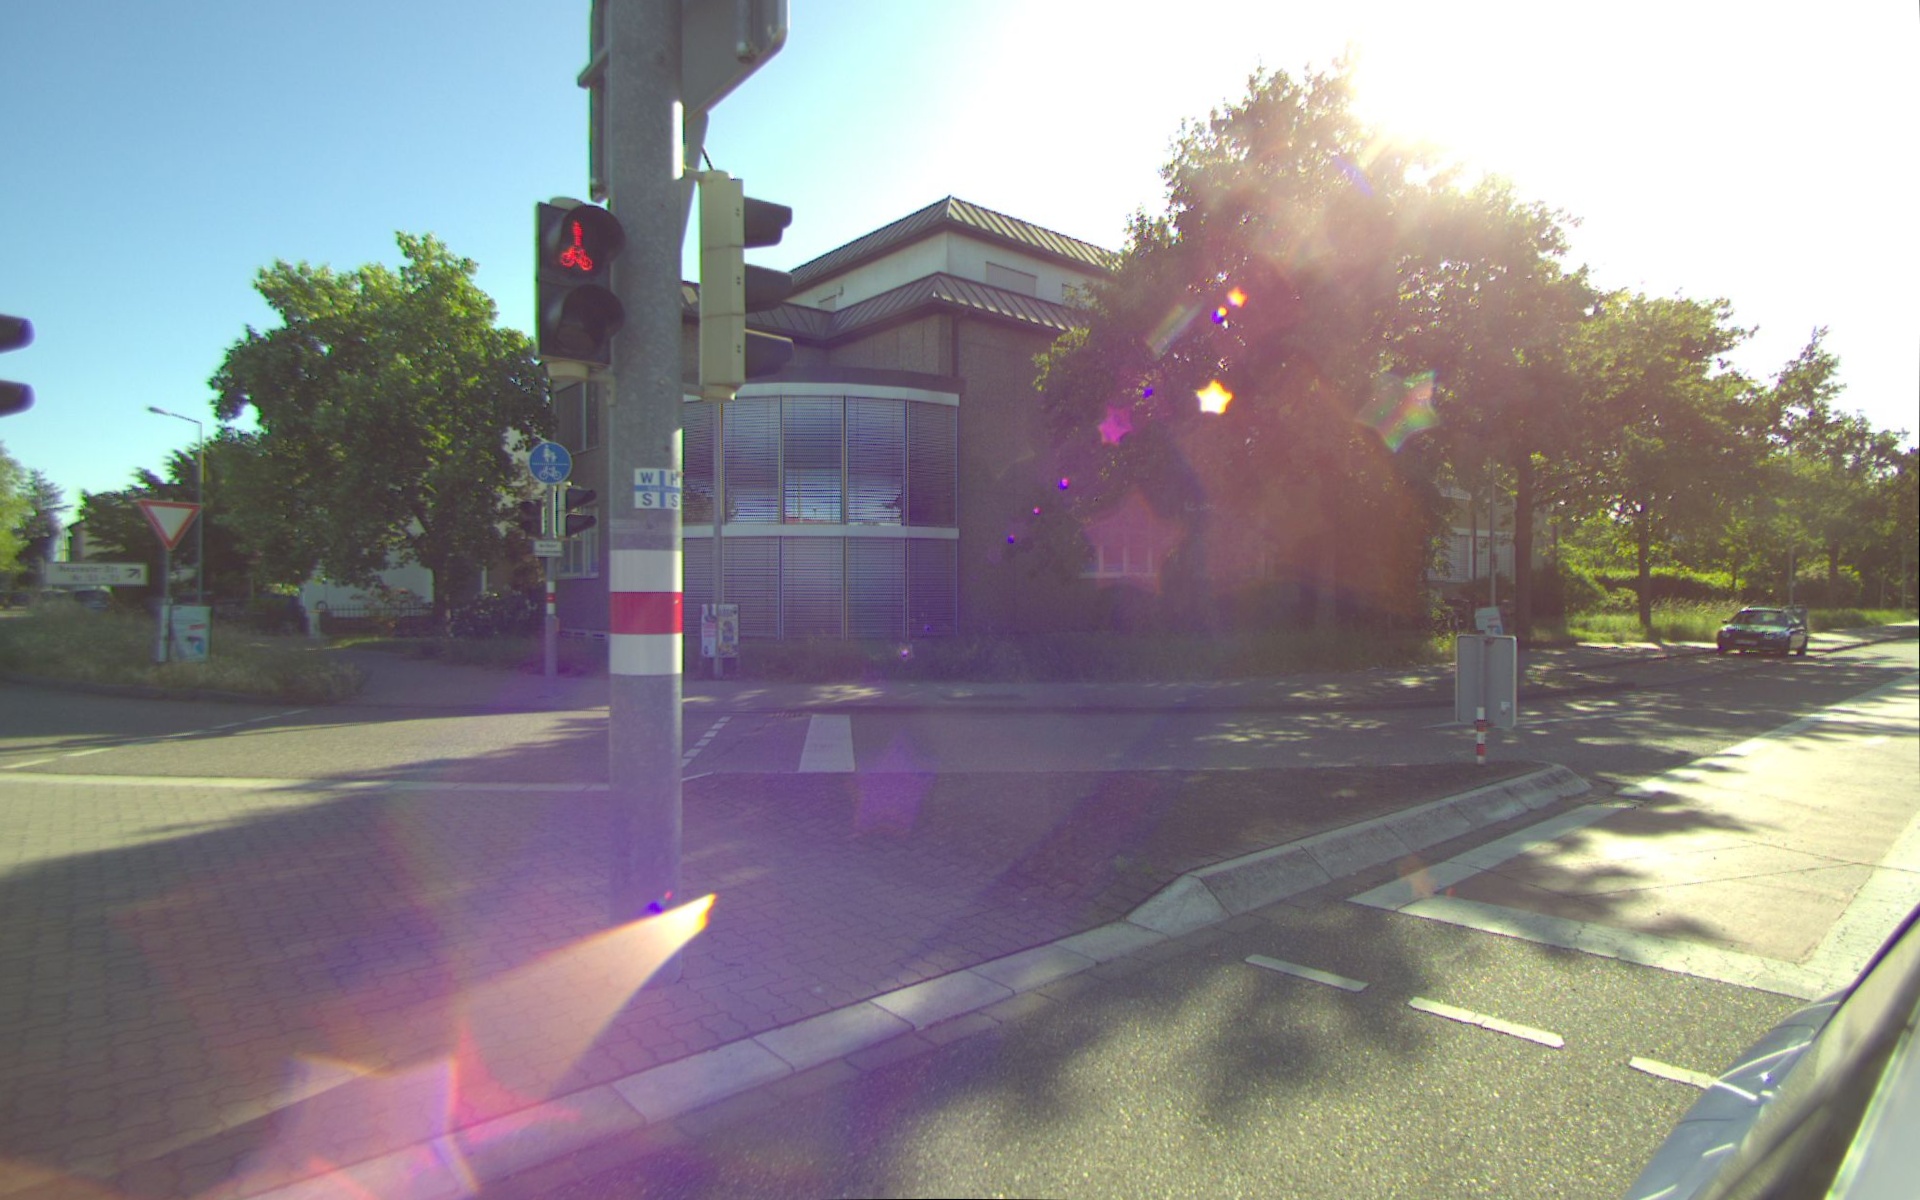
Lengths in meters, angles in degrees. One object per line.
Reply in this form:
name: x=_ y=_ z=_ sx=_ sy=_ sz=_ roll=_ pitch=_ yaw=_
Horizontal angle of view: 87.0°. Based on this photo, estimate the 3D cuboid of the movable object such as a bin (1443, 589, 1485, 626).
movable object such as a bin: x=18.782 y=0.274 z=37.701 sx=0.782 sy=1.358 sz=1.207 roll=0 pitch=0 yaw=-40

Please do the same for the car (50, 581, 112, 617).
car: x=-42.192 y=-0.084 z=48.555 sx=3.988 sy=1.638 sz=1.968 roll=1 pitch=1 yaw=45

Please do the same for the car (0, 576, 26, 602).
car: x=-77.989 y=-0.903 z=82.984 sx=3.984 sy=1.981 sz=1.769 roll=-2 pitch=-1 yaw=42

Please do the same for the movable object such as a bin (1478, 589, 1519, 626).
movable object such as a bin: x=19.601 y=0.256 z=36.853 sx=0.782 sy=1.338 sz=1.088 roll=0 pitch=0 yaw=-40

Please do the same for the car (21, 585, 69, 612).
car: x=-56.471 y=-0.083 z=62.433 sx=3.987 sy=1.612 sz=1.968 roll=-2 pitch=-1 yaw=45

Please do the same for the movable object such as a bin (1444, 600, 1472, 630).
movable object such as a bin: x=17.767 y=0.519 z=36.083 sx=0.683 sy=1.055 sz=0.687 roll=0 pitch=0 yaw=-40

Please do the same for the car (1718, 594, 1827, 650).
car: x=24.329 y=0.607 z=30.249 sx=4.141 sy=1.504 sz=1.776 roll=-1 pitch=2 yaw=-40

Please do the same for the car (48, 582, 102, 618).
car: x=-49.011 y=0.019 z=56.016 sx=3.987 sy=1.841 sz=1.968 roll=-2 pitch=-1 yaw=45

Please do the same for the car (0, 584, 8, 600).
car: x=-96.544 y=-0.796 z=101.239 sx=3.988 sy=1.611 sz=1.829 roll=1 pitch=1 yaw=45

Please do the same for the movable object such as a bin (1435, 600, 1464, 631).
movable object such as a bin: x=17.225 y=0.537 z=35.628 sx=0.683 sy=1.055 sz=0.687 roll=0 pitch=-1 yaw=-40
